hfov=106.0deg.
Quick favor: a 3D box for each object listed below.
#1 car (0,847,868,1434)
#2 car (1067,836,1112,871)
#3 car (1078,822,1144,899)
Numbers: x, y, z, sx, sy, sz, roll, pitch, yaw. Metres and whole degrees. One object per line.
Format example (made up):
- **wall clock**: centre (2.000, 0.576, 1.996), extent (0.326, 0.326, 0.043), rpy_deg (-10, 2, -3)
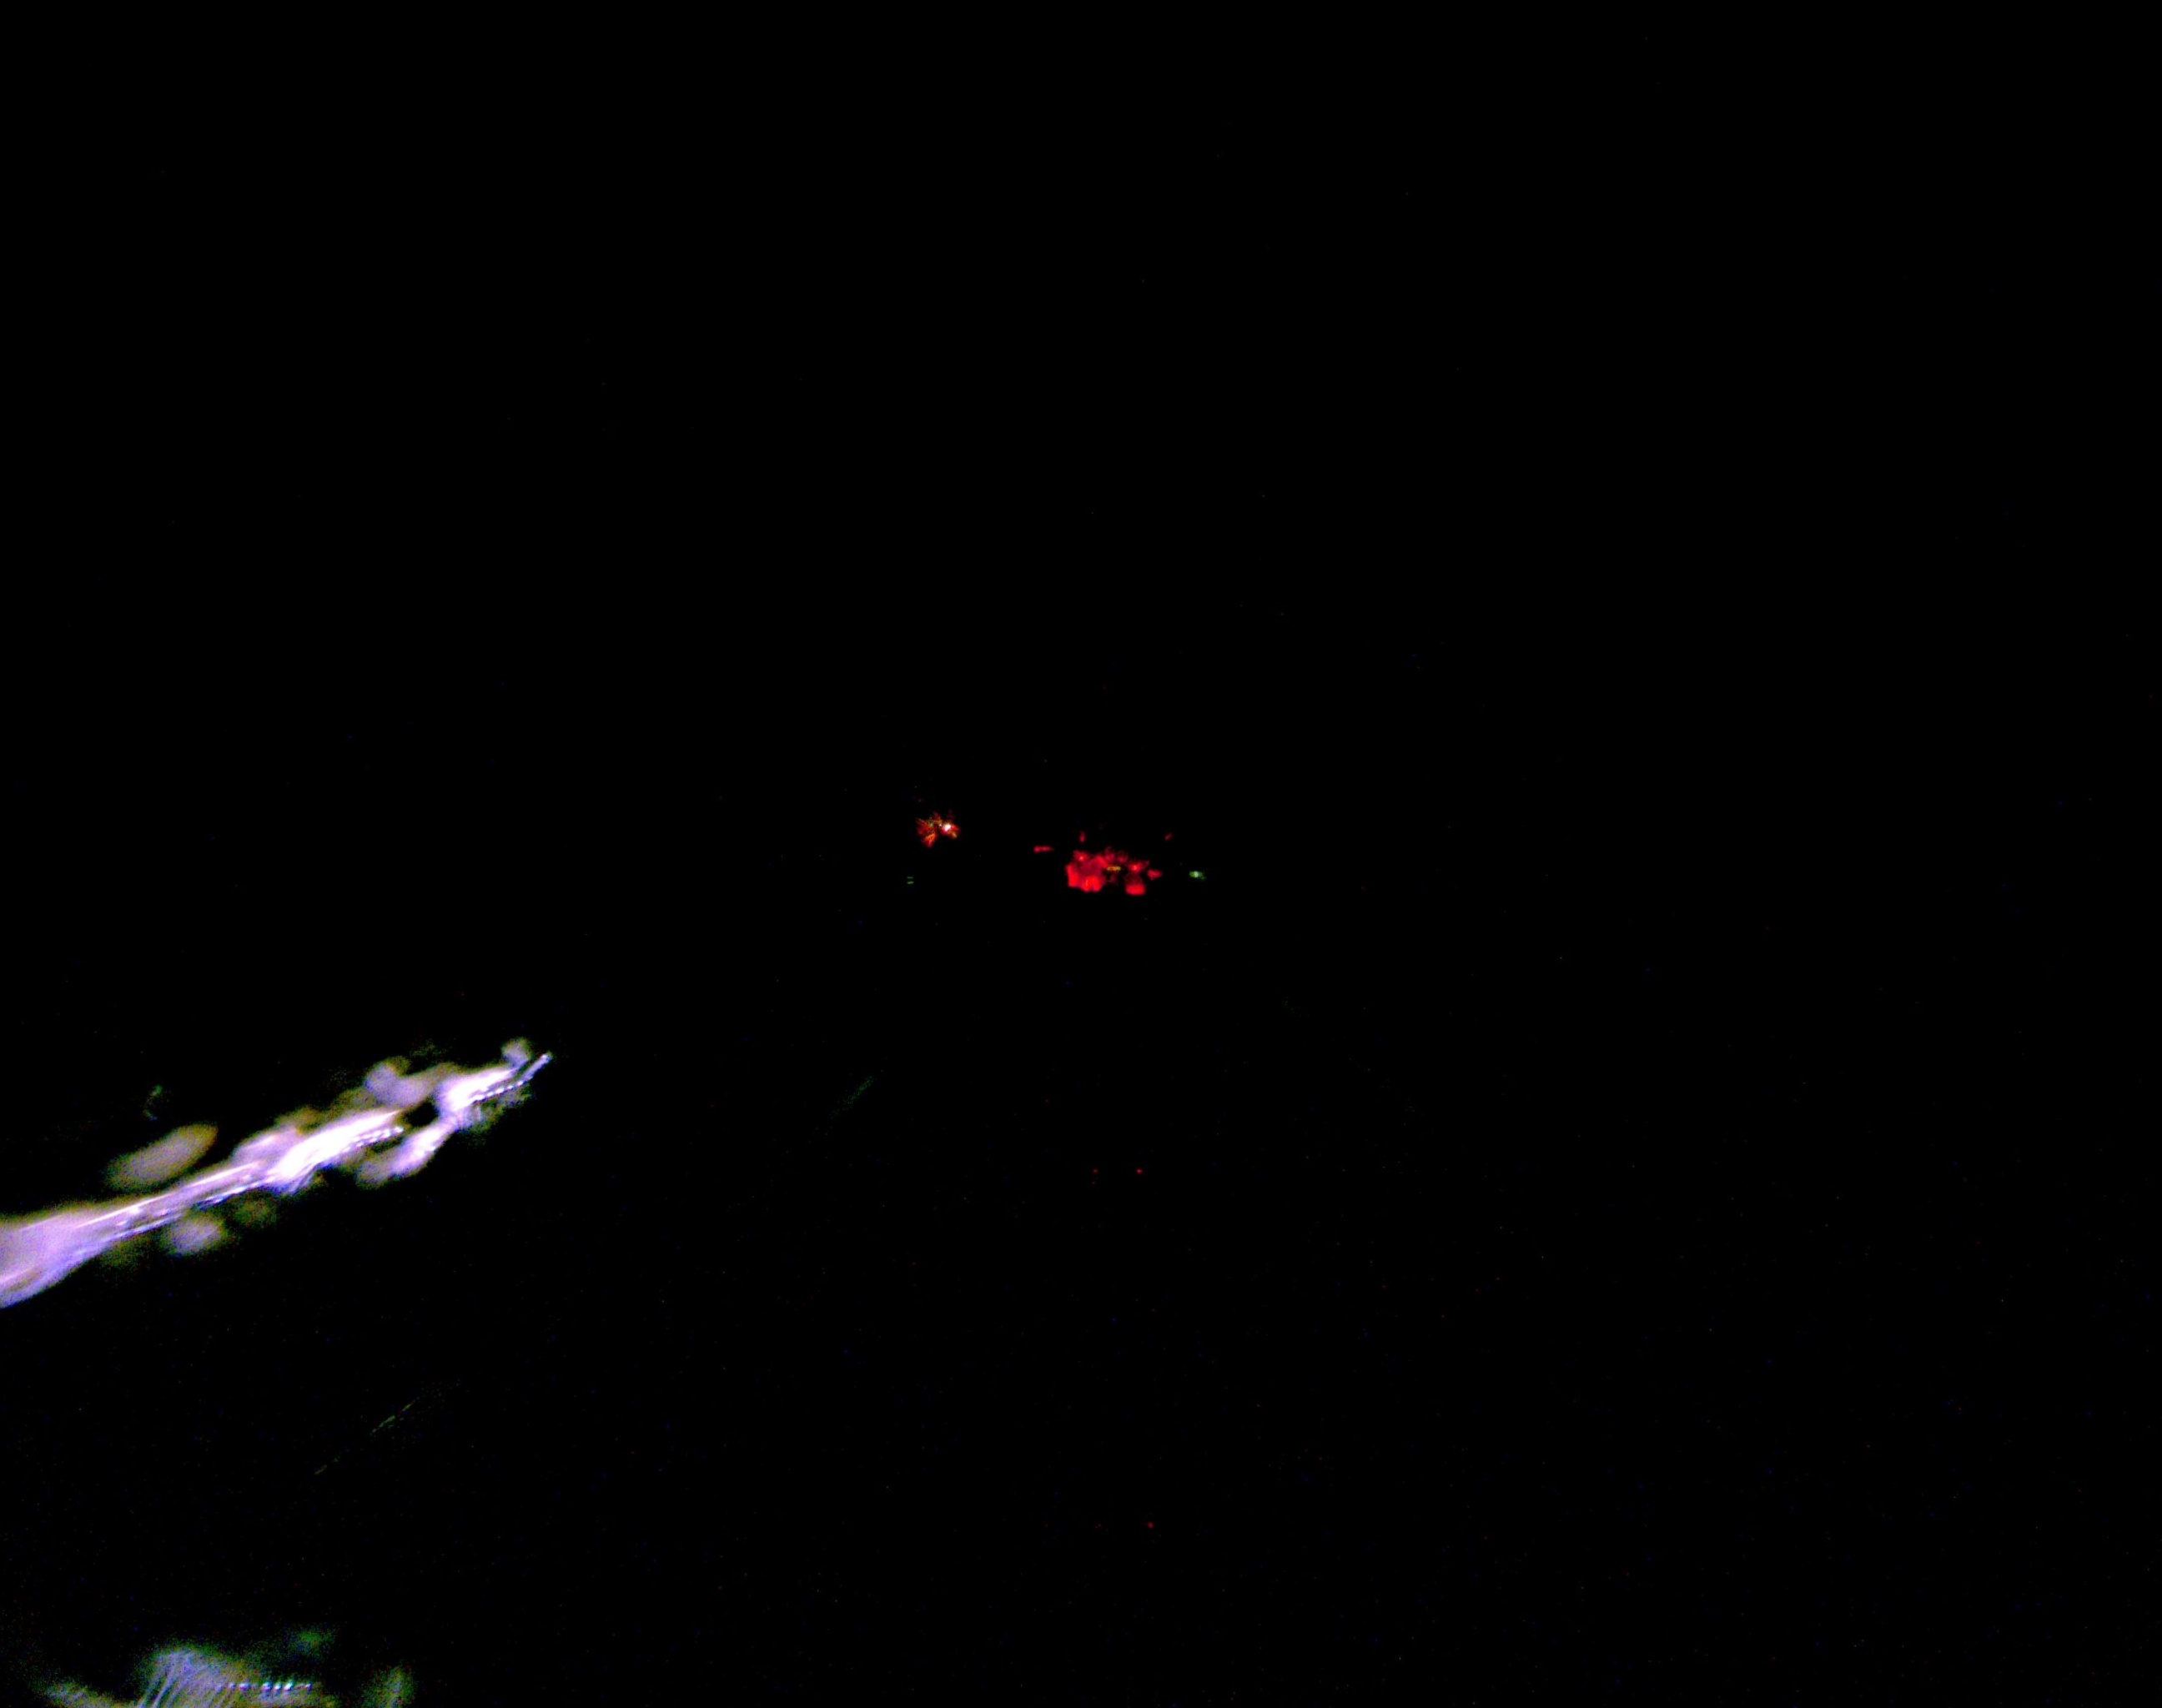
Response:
- **car**: centre (-2.846, 0.793, 4.391), extent (1.911, 1.471, 4.578), rpy_deg (-2, -1, 3)
- **car**: centre (0.771, -0.119, 65.209), extent (3.369, 2.557, 7.340), rpy_deg (1, 2, 2)
- **car**: centre (1.085, 0.139, 29.697), extent (2.173, 2.557, 4.510), rpy_deg (1, 2, 2)
